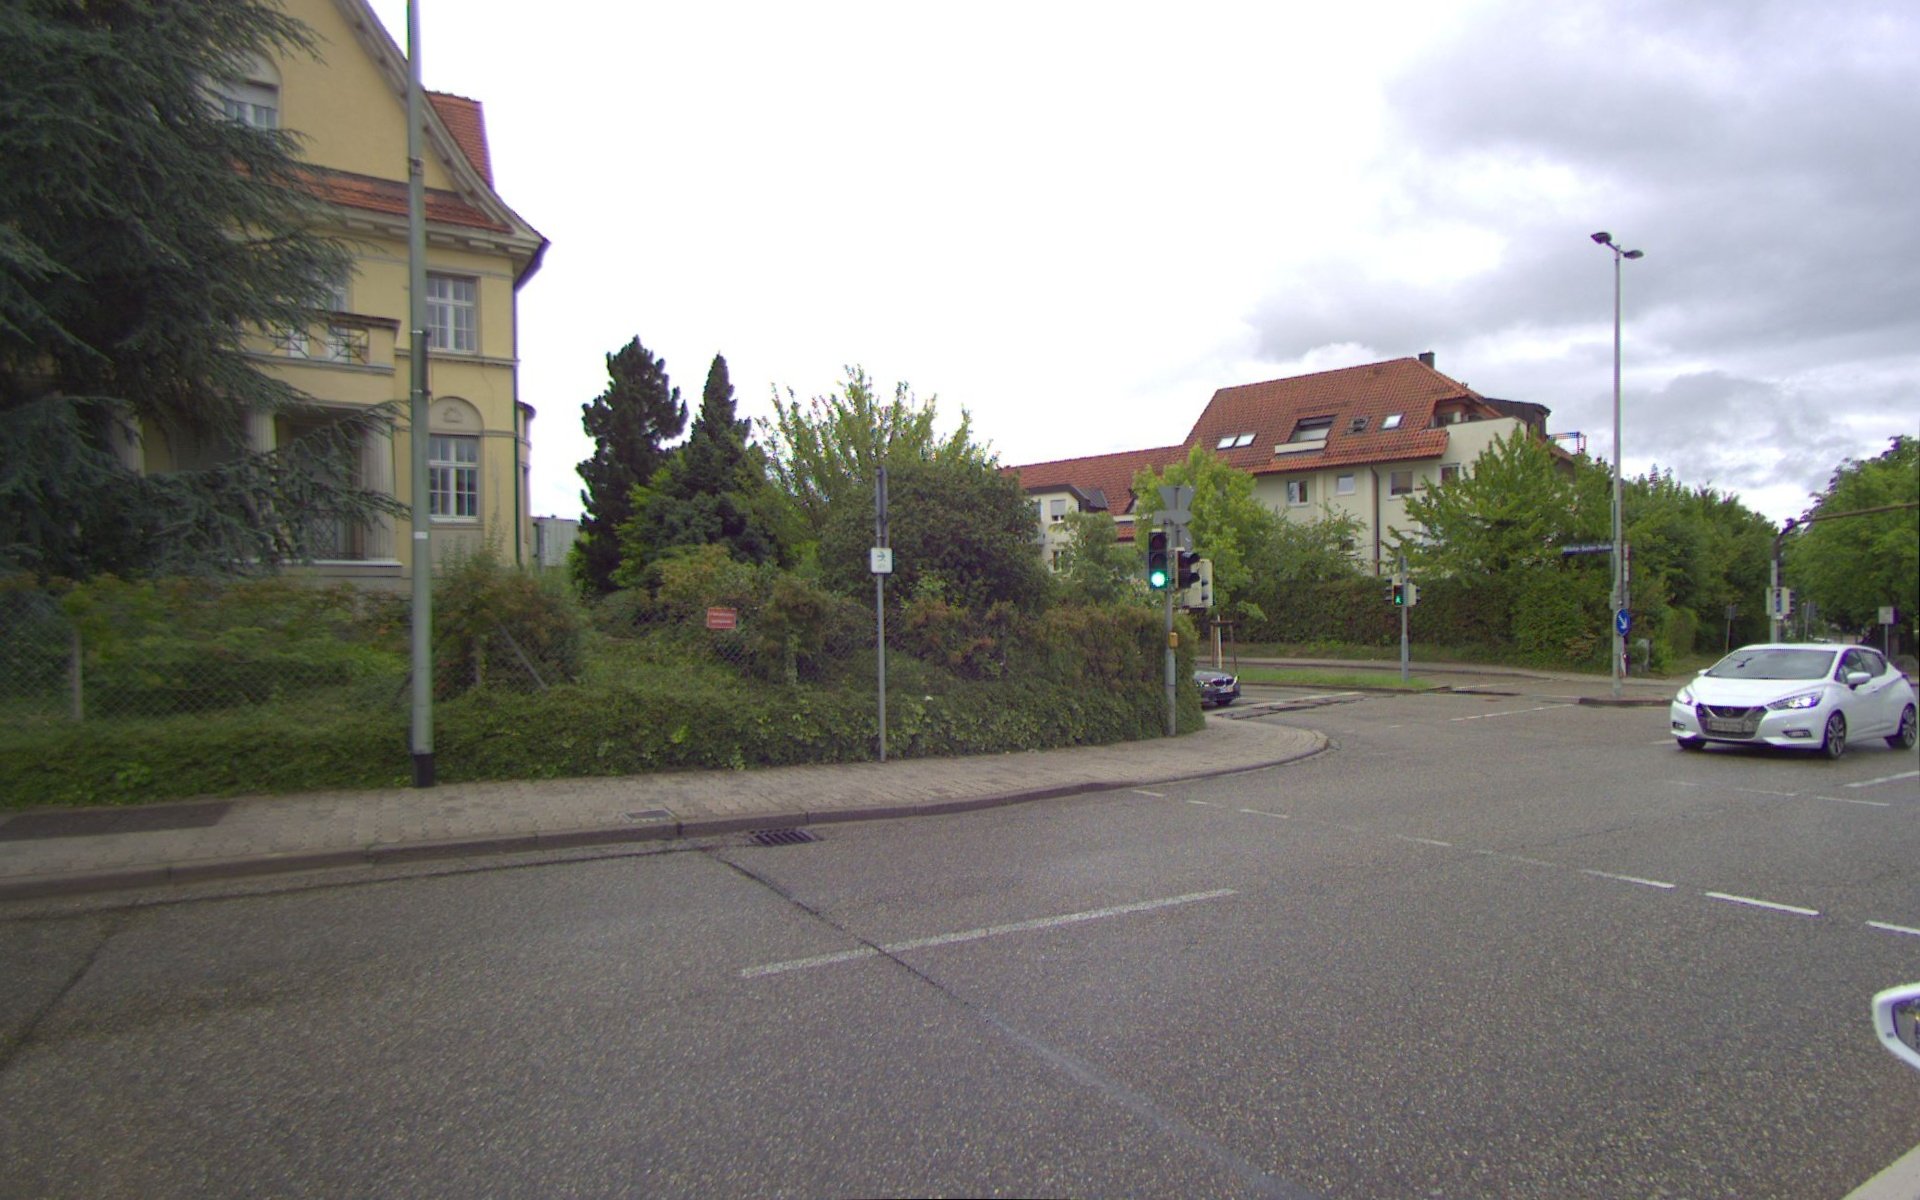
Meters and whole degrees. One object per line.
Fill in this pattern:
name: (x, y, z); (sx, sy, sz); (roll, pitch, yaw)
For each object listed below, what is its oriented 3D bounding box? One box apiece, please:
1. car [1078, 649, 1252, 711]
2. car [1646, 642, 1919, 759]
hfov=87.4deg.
car: (5.215, 2.029, 26.073); (1.759, 1.411, 4.392); (0, -3, -35)
car: (11.394, 1.291, 13.861); (3.757, 1.415, 1.738); (1, -3, -30)
